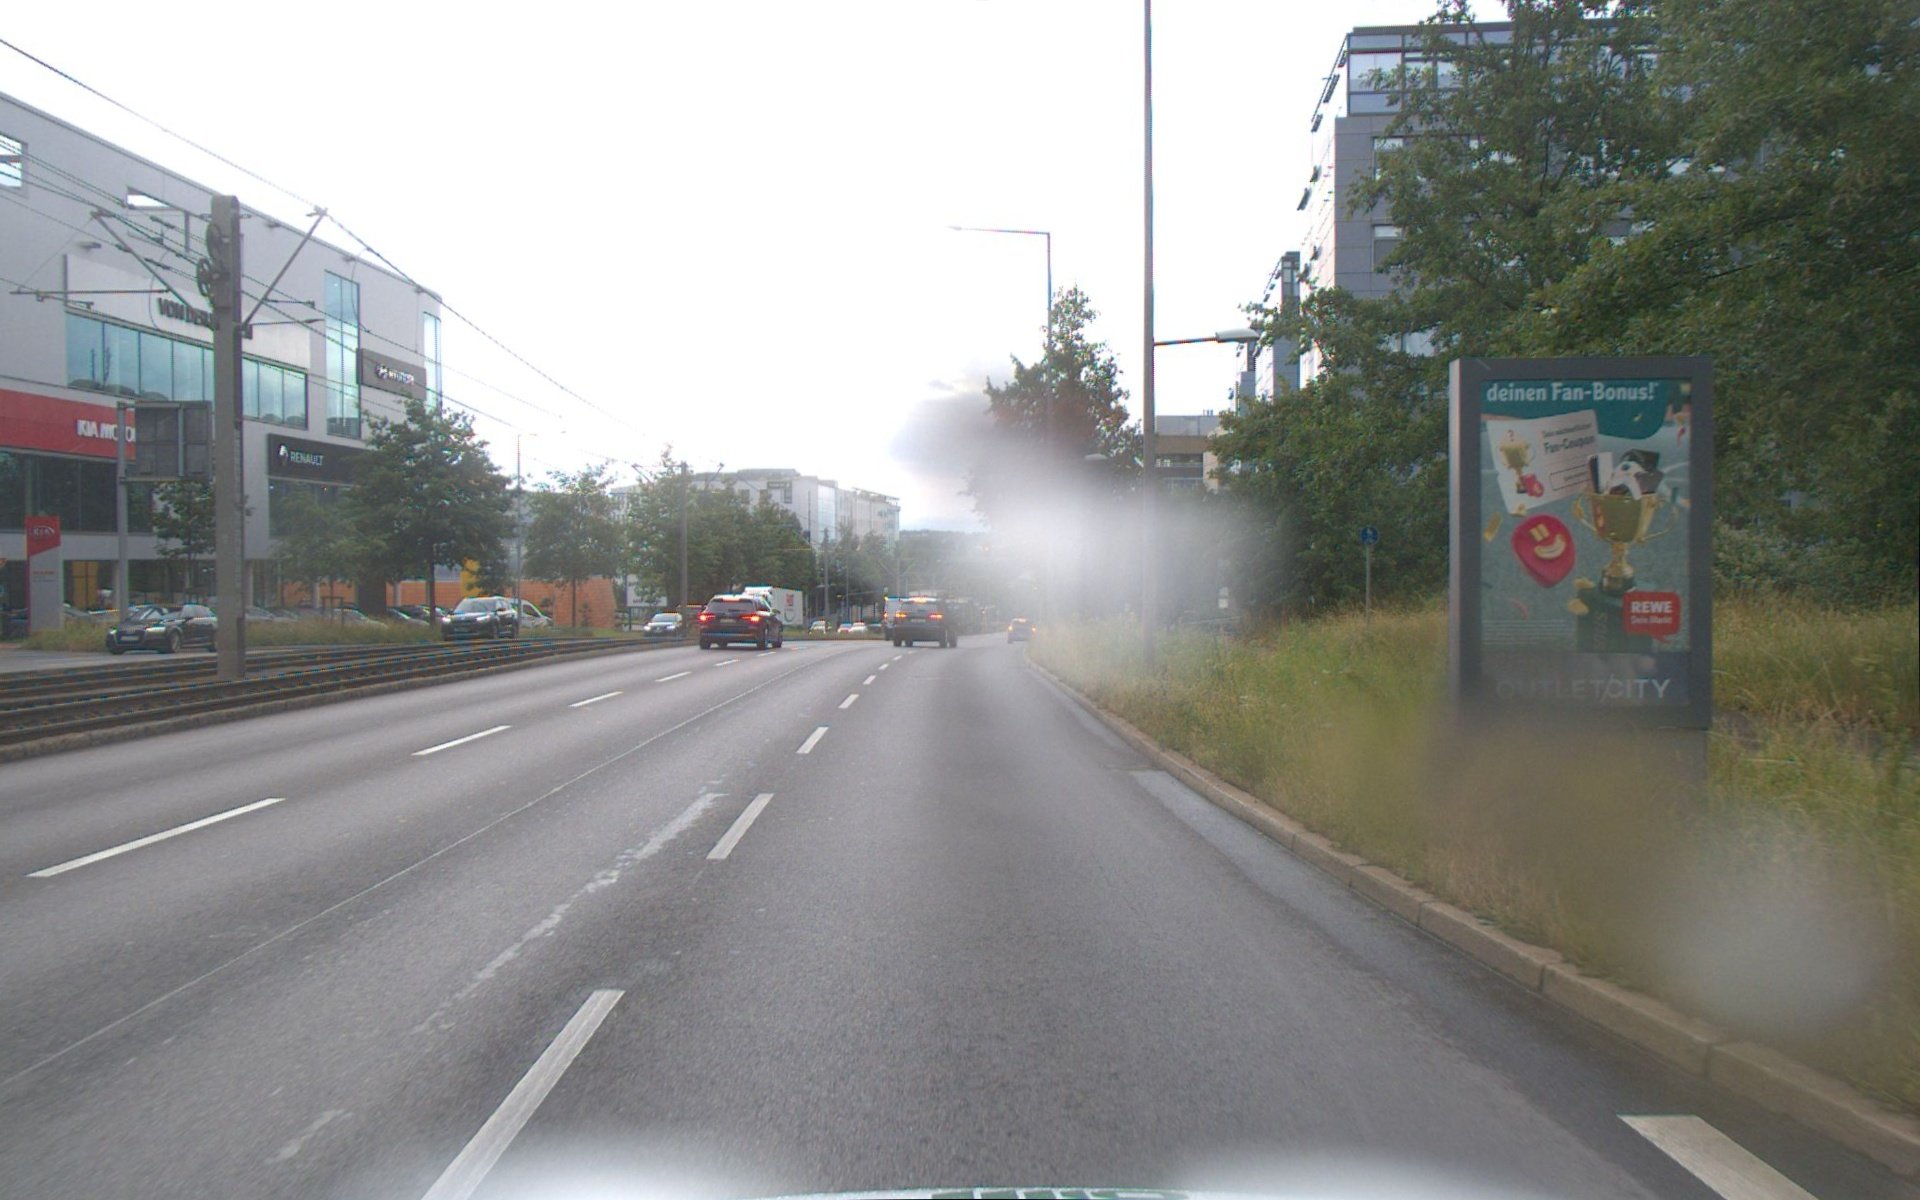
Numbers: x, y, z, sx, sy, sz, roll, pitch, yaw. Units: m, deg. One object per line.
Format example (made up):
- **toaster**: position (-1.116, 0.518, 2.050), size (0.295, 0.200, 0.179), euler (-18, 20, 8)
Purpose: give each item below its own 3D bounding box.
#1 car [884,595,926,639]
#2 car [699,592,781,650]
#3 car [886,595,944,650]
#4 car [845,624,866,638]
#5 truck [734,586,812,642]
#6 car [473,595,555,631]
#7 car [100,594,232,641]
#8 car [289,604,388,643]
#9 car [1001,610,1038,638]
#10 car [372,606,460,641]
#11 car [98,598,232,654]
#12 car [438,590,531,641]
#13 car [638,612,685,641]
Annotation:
- **car**: position (-3.003, 0.898, 91.613), size (2.222, 2.325, 4.758), euler (1, 0, -1)
- **car**: position (-5.873, 0.541, 44.605), size (1.750, 1.438, 4.803), euler (1, 0, -3)
- **car**: position (-1.550, 0.746, 56.910), size (1.884, 1.740, 4.096), euler (2, 0, -2)
- **car**: position (-11.446, 3.413, 181.311), size (1.627, 1.467, 3.898), euler (1, -2, 5)
- **truck**: position (-15.320, 1.138, 137.317), size (2.978, 4.254, 17.211), euler (1, 0, 5)
- **car**: position (-31.371, 0.905, 116.515), size (5.200, 2.353, 2.017), euler (2, -2, -6)
- **car**: position (-32.311, 0.730, 67.459), size (4.549, 1.859, 2.010), euler (0, -1, -17)
- **car**: position (-32.439, 1.222, 86.406), size (4.519, 2.011, 2.014), euler (0, -1, -11)
- **car**: position (3.497, 1.390, 97.767), size (1.754, 1.619, 3.996), euler (-1, 0, -4)
- **car**: position (-31.955, 1.387, 97.215), size (4.510, 2.011, 2.019), euler (0, -1, -3)
- **car**: position (-22.536, 0.772, 47.039), size (1.633, 1.487, 4.238), euler (1, -2, 1)
- **car**: position (-16.620, 0.570, 58.014), size (1.767, 1.645, 4.387), euler (1, -2, 3)
- **car**: position (-16.137, 1.442, 89.508), size (1.633, 1.487, 4.239), euler (1, -2, 2)
